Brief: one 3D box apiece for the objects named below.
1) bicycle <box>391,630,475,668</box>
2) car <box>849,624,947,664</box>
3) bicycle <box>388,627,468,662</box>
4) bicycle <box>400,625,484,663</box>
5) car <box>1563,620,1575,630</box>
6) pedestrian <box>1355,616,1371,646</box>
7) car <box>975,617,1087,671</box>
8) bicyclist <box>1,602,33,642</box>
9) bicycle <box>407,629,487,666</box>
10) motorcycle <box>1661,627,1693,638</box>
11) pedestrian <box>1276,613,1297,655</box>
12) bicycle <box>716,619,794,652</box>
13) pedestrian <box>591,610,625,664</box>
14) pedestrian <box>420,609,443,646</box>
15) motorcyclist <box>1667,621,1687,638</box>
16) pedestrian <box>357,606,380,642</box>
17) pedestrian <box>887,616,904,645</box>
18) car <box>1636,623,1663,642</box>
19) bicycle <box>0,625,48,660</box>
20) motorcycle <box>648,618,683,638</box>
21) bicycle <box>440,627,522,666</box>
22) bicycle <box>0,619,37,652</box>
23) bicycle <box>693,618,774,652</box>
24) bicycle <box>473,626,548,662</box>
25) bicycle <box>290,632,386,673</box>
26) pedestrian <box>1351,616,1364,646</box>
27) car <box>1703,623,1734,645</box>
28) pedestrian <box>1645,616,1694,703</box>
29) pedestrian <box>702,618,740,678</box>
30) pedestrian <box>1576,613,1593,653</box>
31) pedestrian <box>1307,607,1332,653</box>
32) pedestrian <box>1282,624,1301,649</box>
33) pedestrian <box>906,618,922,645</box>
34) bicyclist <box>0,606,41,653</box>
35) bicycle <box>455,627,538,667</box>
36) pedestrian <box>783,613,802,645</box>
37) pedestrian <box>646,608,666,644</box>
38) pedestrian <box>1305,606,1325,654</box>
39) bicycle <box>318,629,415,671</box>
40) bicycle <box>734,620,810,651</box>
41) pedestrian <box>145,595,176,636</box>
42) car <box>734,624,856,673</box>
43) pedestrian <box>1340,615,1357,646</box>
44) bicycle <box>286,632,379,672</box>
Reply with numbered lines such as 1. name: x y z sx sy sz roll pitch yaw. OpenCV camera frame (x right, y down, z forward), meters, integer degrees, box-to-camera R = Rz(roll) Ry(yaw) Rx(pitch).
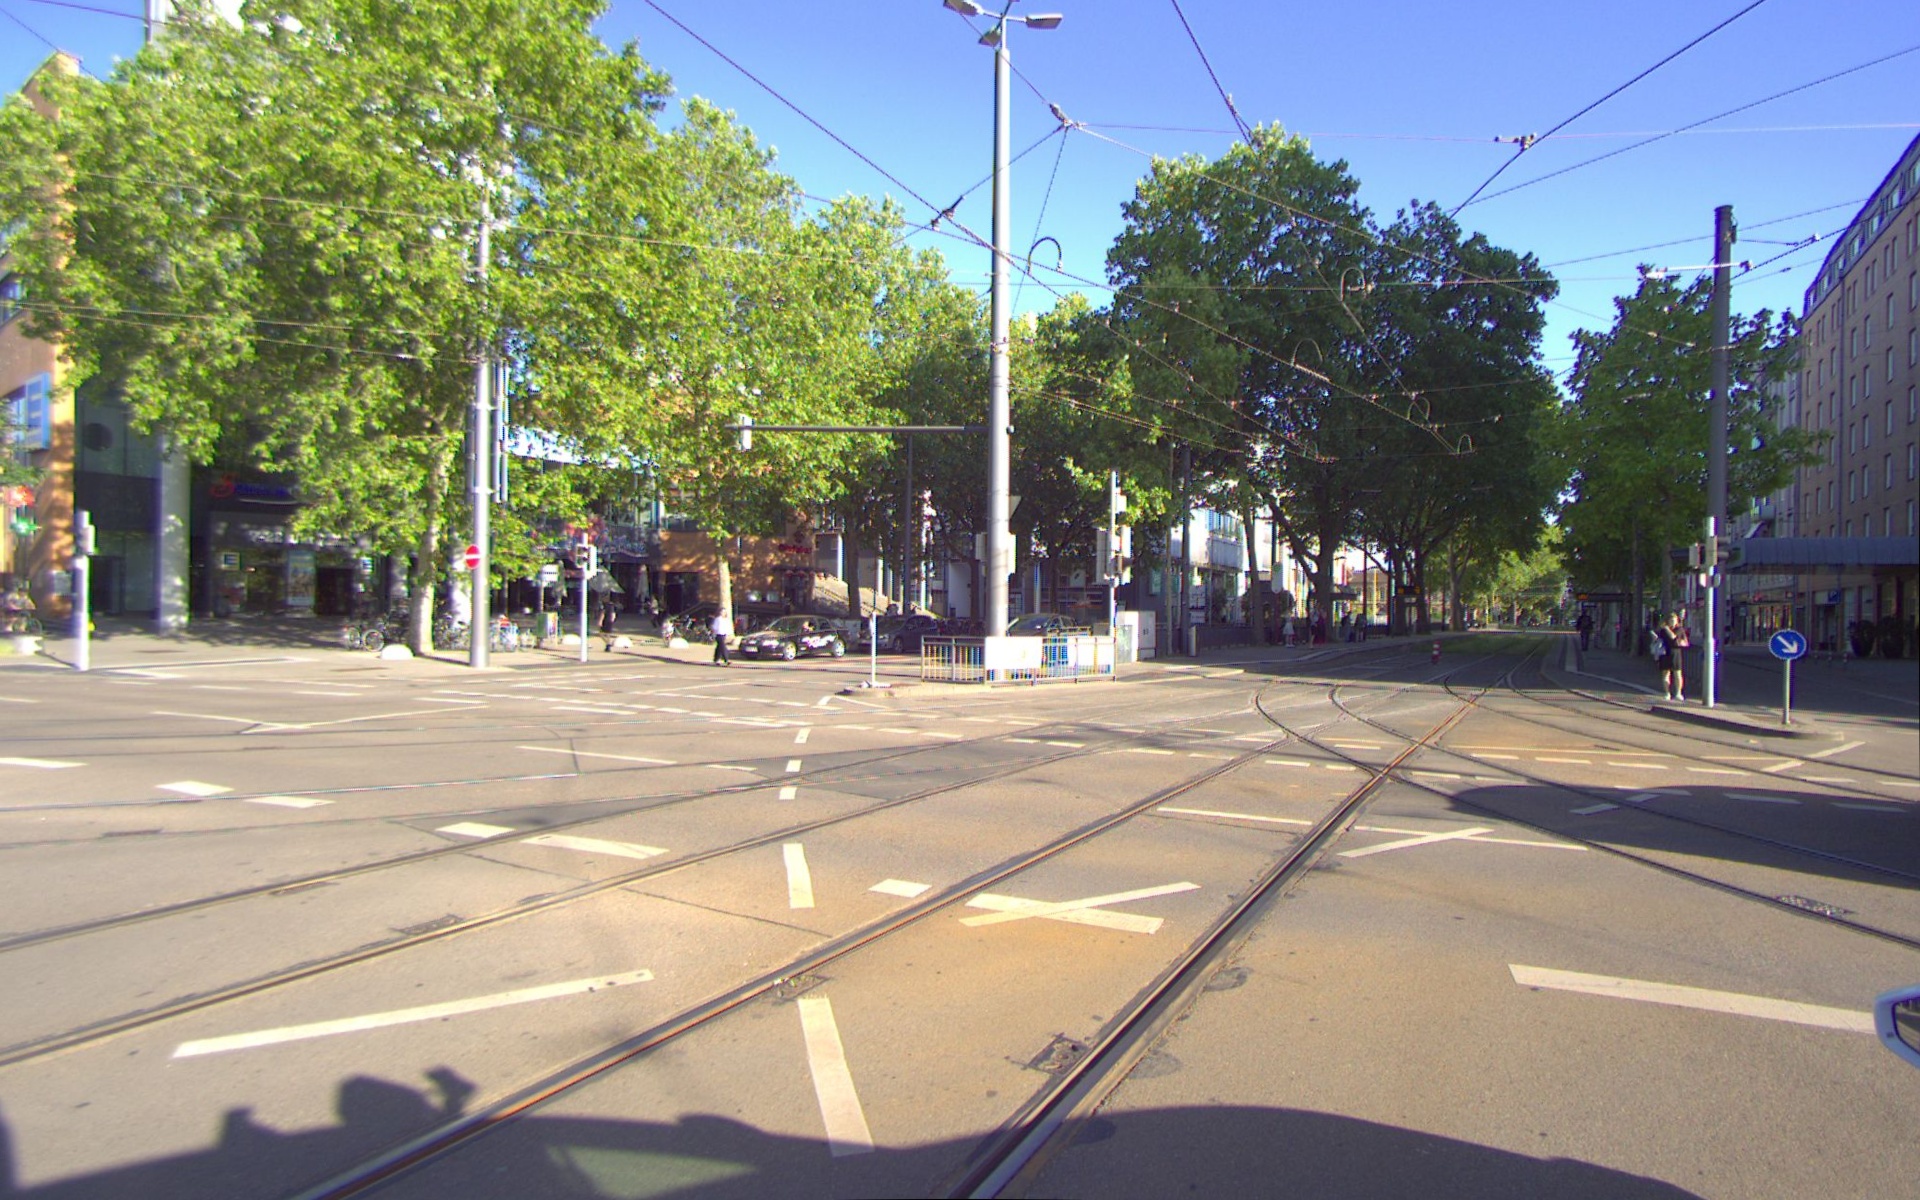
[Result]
1. bicycle: -16.693 1.540 31.882 0.589 1.143 2.361 0 -2 33
2. car: -2.306 1.653 38.196 1.643 1.425 3.990 1 -1 33
3. bicycle: -17.679 1.468 33.454 0.589 1.143 2.361 0 -2 33
4. bicycle: -16.185 1.349 31.462 0.589 1.143 2.361 0 -2 33
5. car: 98.179 3.987 162.009 1.590 1.522 3.683 1 -1 31
6. pedestrian: 21.707 1.658 54.089 0.557 1.594 0.635 1 1 44
7. car: 2.179 1.285 29.798 1.642 1.433 3.992 1 -1 31
8. bicyclist: -35.170 0.807 37.452 0.741 1.480 0.692 0 -1 34
9. bicycle: -16.747 1.533 32.854 0.589 1.143 2.361 0 -2 33
10. motorcycle: 77.869 3.536 109.136 1.283 1.072 3.098 1 0 2
11. pedestrian: 14.242 1.471 43.838 0.739 1.824 0.585 1 0 -43
12. bicycle: -9.096 1.551 44.579 3.295 1.371 1.035 1 -1 18
13. pedestrian: -11.373 1.197 32.468 0.817 1.702 0.714 -1 -2 35
14. pedestrian: -24.226 1.266 46.067 0.692 1.674 0.698 1 0 -6
15. motorcyclist: 77.893 3.196 109.069 1.283 1.720 1.237 1 0 2
16. pedestrian: -27.619 1.104 46.909 0.695 1.674 0.696 1 0 38
17. pedestrian: -3.732 1.757 58.382 0.686 1.674 0.704 1 0 32
18. car: 58.835 2.790 85.752 1.590 1.522 3.683 1 -1 31
19. bicycle: -31.464 1.406 33.581 2.647 1.118 0.893 -1 -2 35
20. motorcycle: -16.673 1.586 56.904 2.310 1.072 0.827 0 -1 43
21. bicycle: -14.922 1.431 31.374 0.589 1.143 2.361 0 -2 33
22. bicycle: -35.181 1.312 37.451 1.820 1.152 0.692 0 -1 34
23. bicycle: -9.619 1.467 42.618 3.295 1.371 1.035 1 -1 18
24. bicycle: -15.054 1.463 33.696 0.589 1.143 2.361 0 -2 33
25. bicycle: -18.174 1.506 29.420 0.589 1.143 2.360 0 -2 34
26. pedestrian: 21.249 1.643 53.689 0.494 1.594 0.492 1 1 35
27. car: 60.427 2.656 80.053 1.648 1.674 3.681 1 -1 32
28. pedestrian: 14.301 1.191 20.241 0.705 1.702 0.827 -2 -2 40
29. pedestrian: -6.843 1.365 28.772 0.819 1.702 0.713 -2 -2 41
30. pedestrian: 26.607 1.415 42.808 0.595 1.702 0.485 -1 -2 32
31. pedestrian: 14.536 1.222 40.658 0.735 1.853 0.588 1 0 -27
32. pedestrian: 15.591 1.718 47.219 0.739 1.179 0.585 1 0 -43
33. pedestrian: -2.863 1.984 62.914 0.686 1.674 0.704 1 -1 32
34. bicyclist: -31.459 0.985 33.586 0.924 1.569 0.893 -1 -1 36
35. bicycle: -14.059 1.407 30.541 0.589 1.143 2.361 0 -2 33
36. pedestrian: -9.093 1.562 54.507 0.686 1.674 0.704 1 0 32
37. pedestrian: -15.423 1.319 51.021 0.689 1.791 0.701 1 0 44
38. pedestrian: 14.132 1.185 39.989 0.624 1.853 0.744 1 0 27
39. bicycle: -16.915 1.412 28.685 0.589 1.143 2.360 0 -2 34
40. bicycle: -8.609 1.614 46.019 3.295 1.371 1.035 1 -1 18
41. pedestrian: -33.957 0.651 42.660 0.719 1.728 0.699 1 -1 9
42. car: -5.267 1.546 32.508 1.643 1.425 3.990 1 -1 33
43. pedestrian: 20.024 1.568 51.774 0.661 1.594 0.484 0 1 -16
44. bicycle: -19.141 1.570 30.685 0.589 1.143 2.360 0 -2 34
